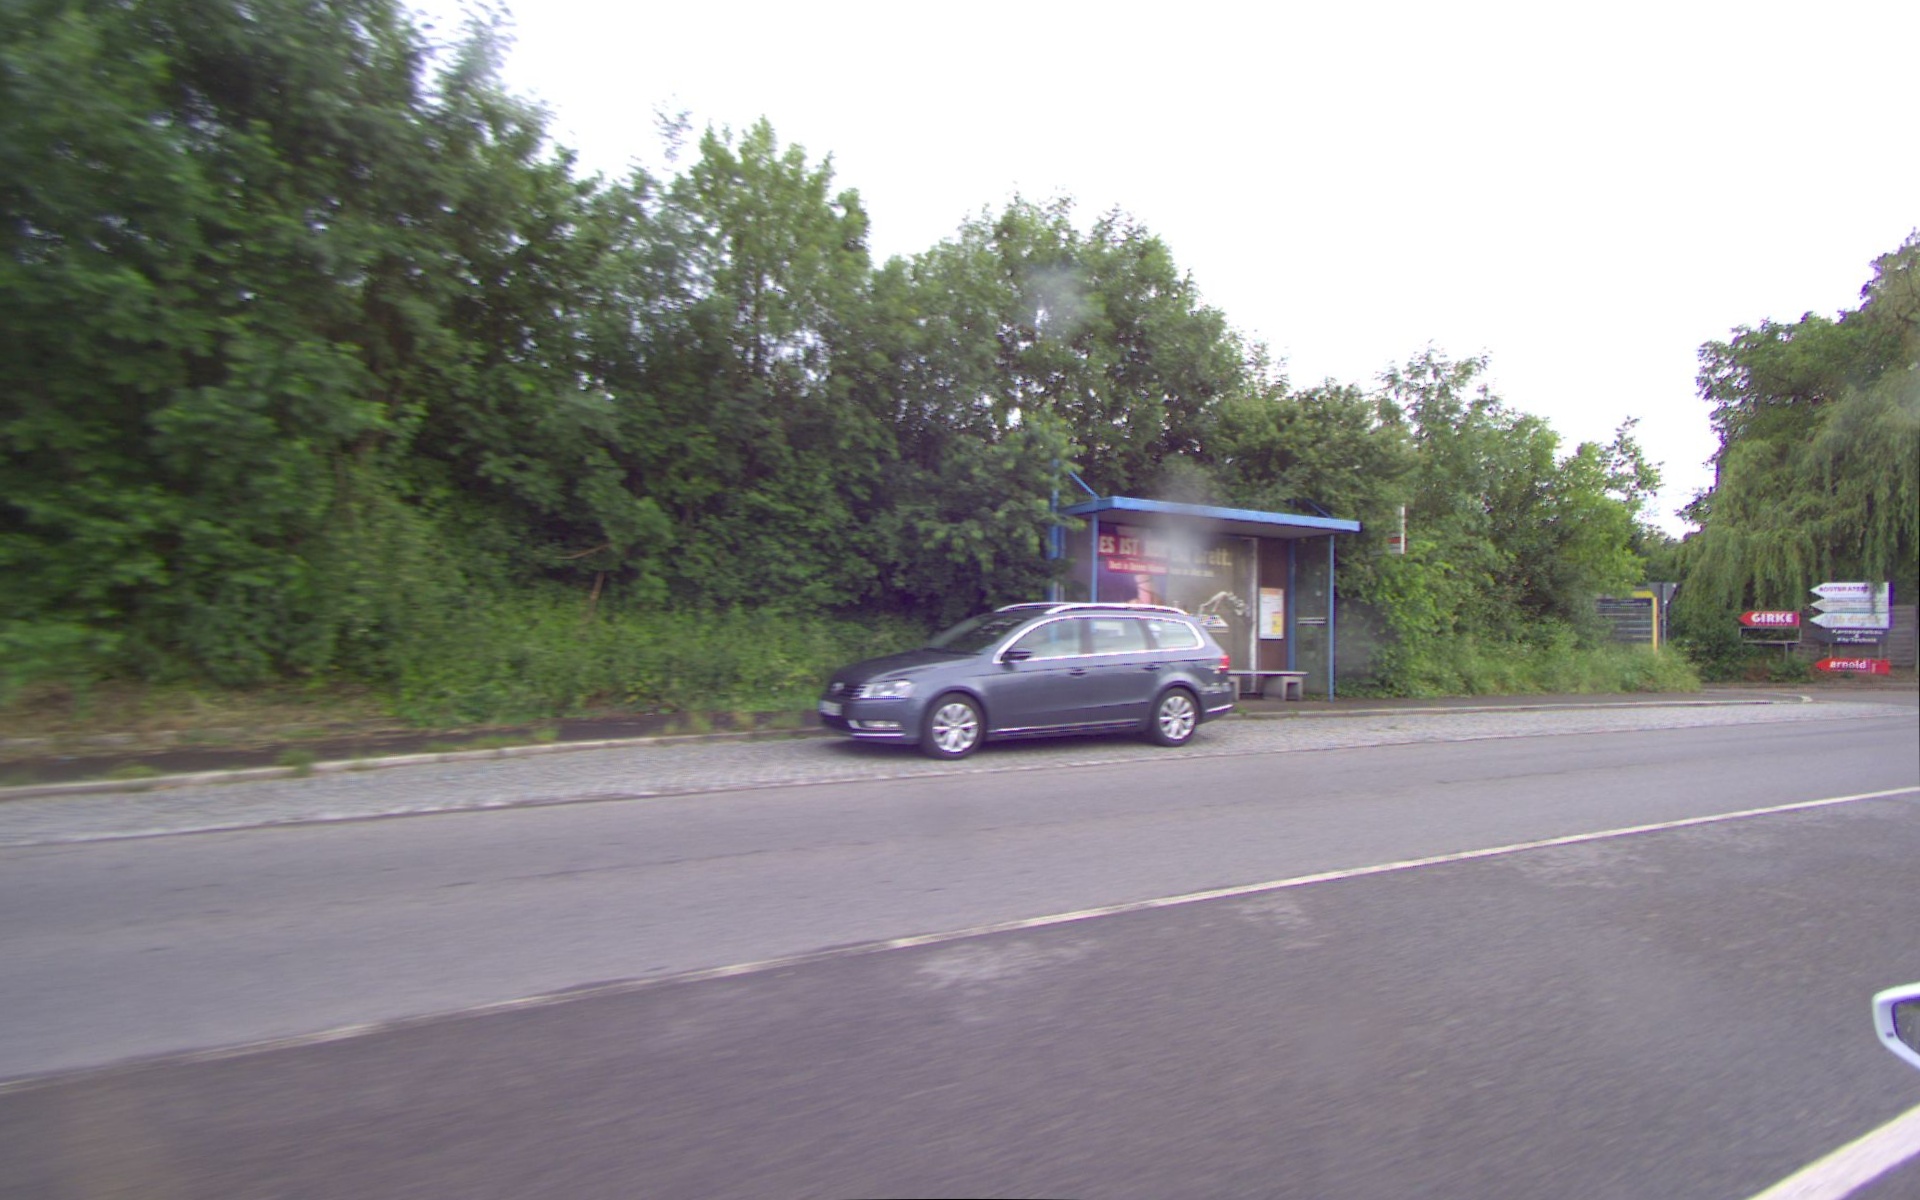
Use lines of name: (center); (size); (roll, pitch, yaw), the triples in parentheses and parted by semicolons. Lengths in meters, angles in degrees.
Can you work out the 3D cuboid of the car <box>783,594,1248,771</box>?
car: (0.648, 0.741, 10.811); (4.642, 1.494, 1.985); (1, 2, -28)
